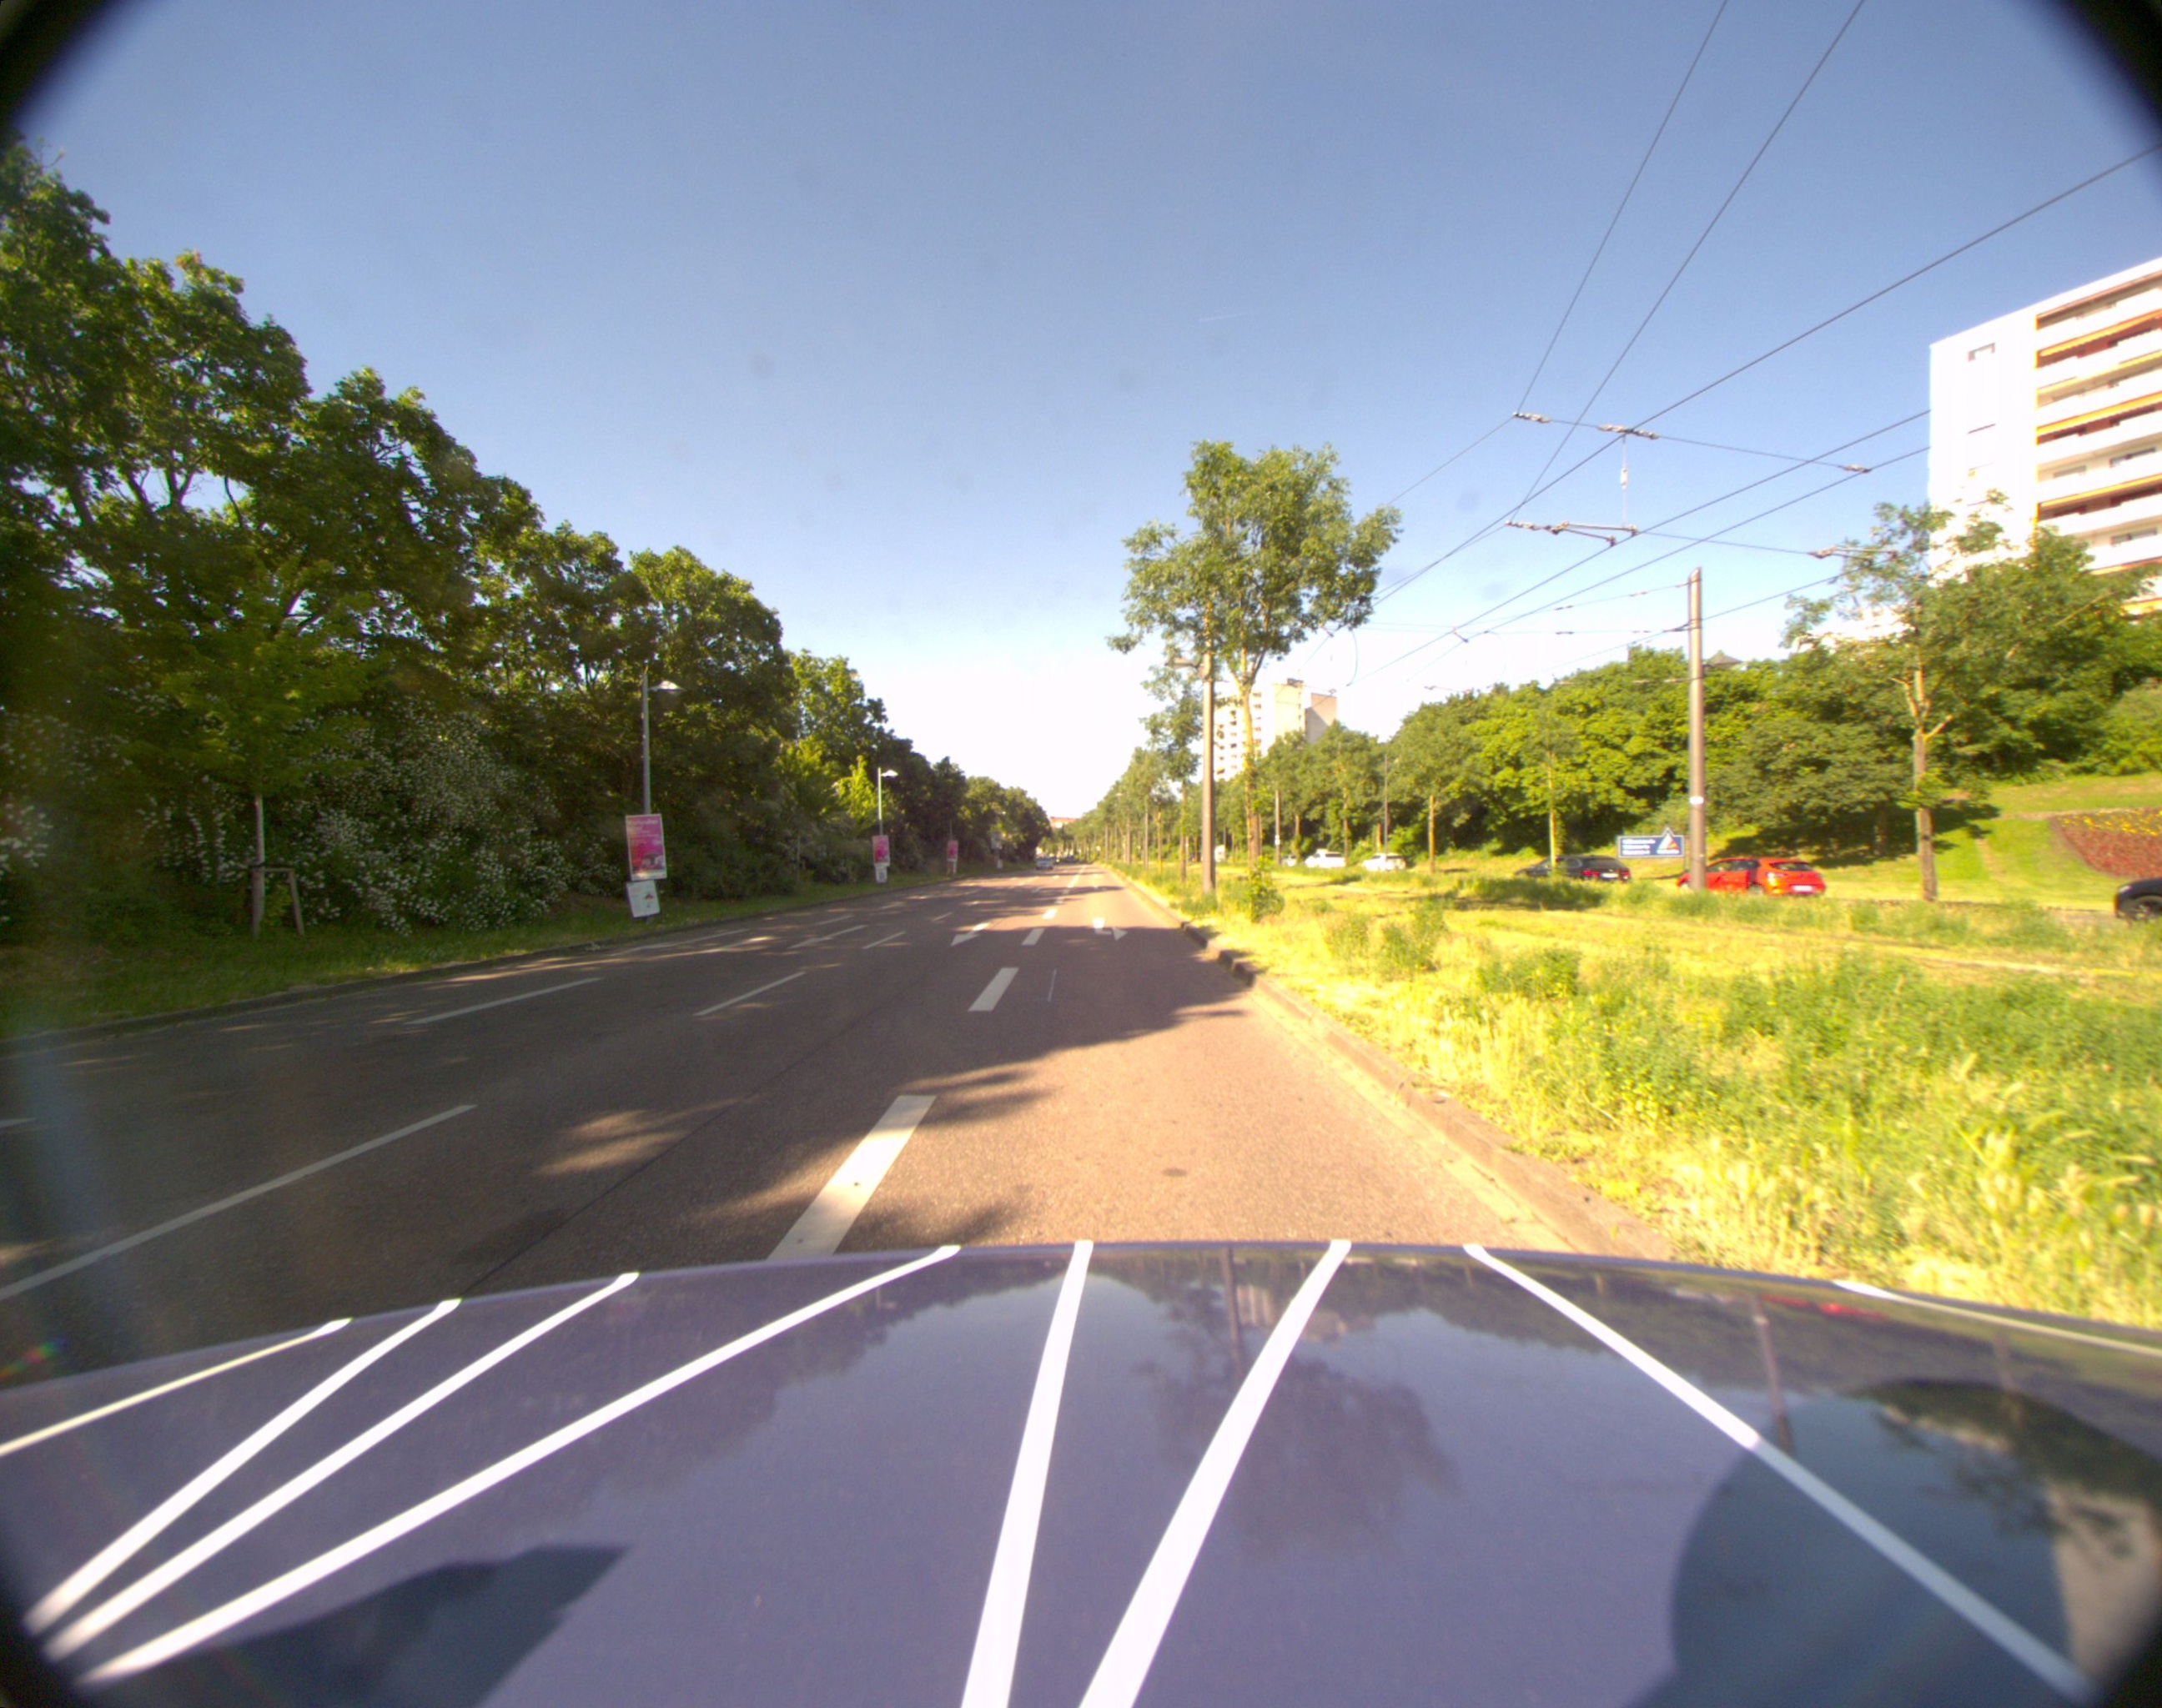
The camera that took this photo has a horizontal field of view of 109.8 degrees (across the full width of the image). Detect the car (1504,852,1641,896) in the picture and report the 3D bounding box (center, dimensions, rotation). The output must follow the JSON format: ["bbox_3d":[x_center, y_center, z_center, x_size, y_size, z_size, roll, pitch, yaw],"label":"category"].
[{"bbox_3d":[17.958,0.656,28.110,1.998,1.401,4.990,-2,1,2],"label":"car"}]

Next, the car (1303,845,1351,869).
[{"bbox_3d":[17.956,0.183,55.696,1.899,1.612,4.656,-2,1,-1],"label":"car"}]

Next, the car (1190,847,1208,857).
[{"bbox_3d":[18.716,-0.311,120.938,1.998,1.575,5.272,-2,1,1],"label":"car"}]

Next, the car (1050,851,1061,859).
[{"bbox_3d":[-4.677,0.242,138.364,1.831,1.400,4.216,-1,0,-1],"label":"car"}]

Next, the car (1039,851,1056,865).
[{"bbox_3d":[-3.887,0.452,88.422,1.673,1.531,4.060,-4,0,1],"label":"car"}]

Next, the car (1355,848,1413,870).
[{"bbox_3d":[21.283,0.325,53.589,1.905,1.390,4.540,-2,1,-6],"label":"car"}]

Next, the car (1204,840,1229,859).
[{"bbox_3d":[17.377,-0.587,97.699,2.044,2.355,6.880,-2,1,1],"label":"car"}]

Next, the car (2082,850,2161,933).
[{"bbox_3d":[20.869,0.704,12.785,1.998,1.472,4.631,-2,1,1],"label":"car"}]

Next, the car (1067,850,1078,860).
[{"bbox_3d":[-1.590,0.137,143.552,1.999,1.696,3.999,-2,1,-1],"label":"car"}]

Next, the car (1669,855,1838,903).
[{"bbox_3d":[20.943,0.730,23.920,1.661,1.290,4.177,-2,1,1],"label":"car"}]

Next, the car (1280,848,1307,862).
[{"bbox_3d":[21.125,0.109,75.654,1.802,1.285,4.000,-2,1,3],"label":"car"}]
